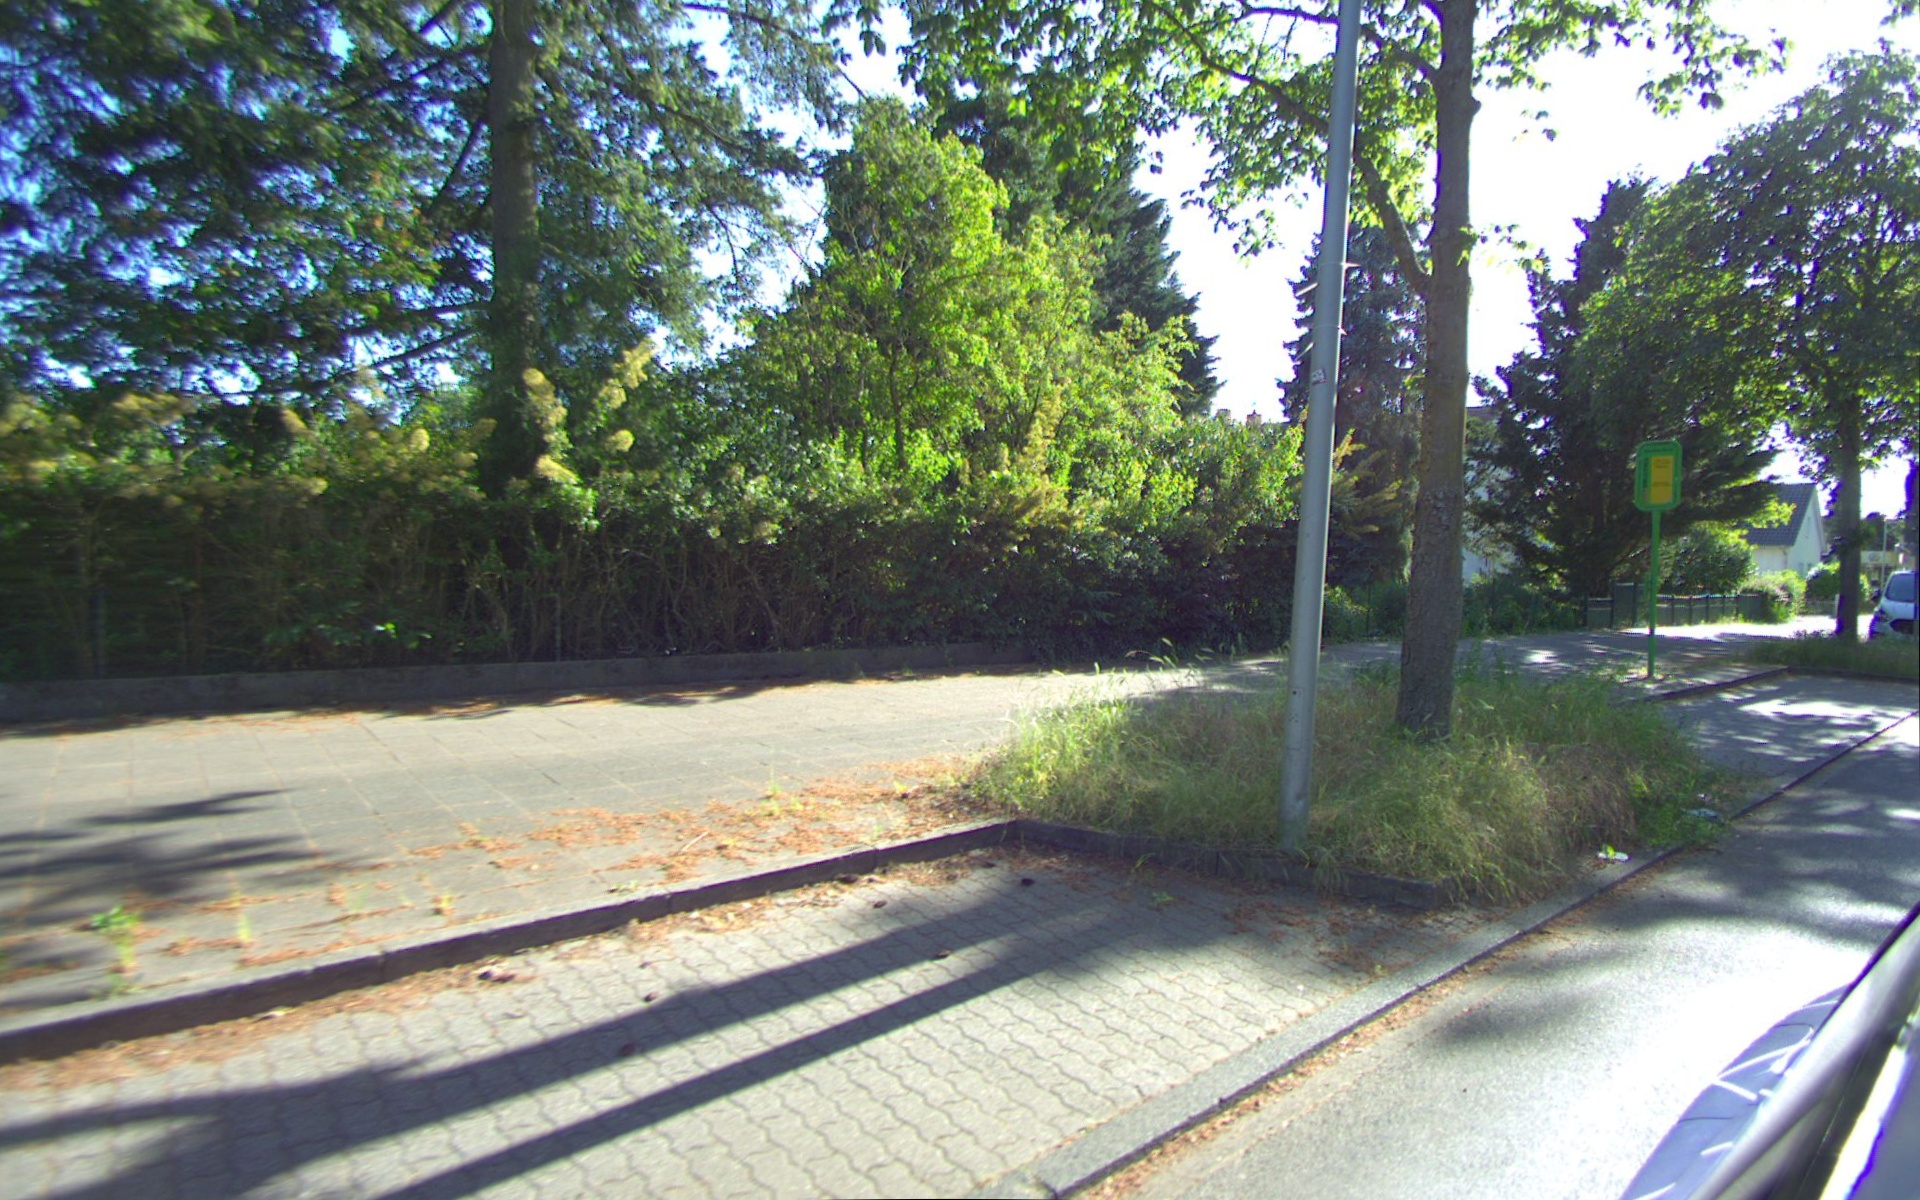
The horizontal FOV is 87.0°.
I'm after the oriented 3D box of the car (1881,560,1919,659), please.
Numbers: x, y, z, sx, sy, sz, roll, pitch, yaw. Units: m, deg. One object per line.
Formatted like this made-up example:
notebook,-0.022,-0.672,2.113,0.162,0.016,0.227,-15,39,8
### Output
car,22.007,0.152,22.318,5.107,2.039,1.996,-1,0,-42
